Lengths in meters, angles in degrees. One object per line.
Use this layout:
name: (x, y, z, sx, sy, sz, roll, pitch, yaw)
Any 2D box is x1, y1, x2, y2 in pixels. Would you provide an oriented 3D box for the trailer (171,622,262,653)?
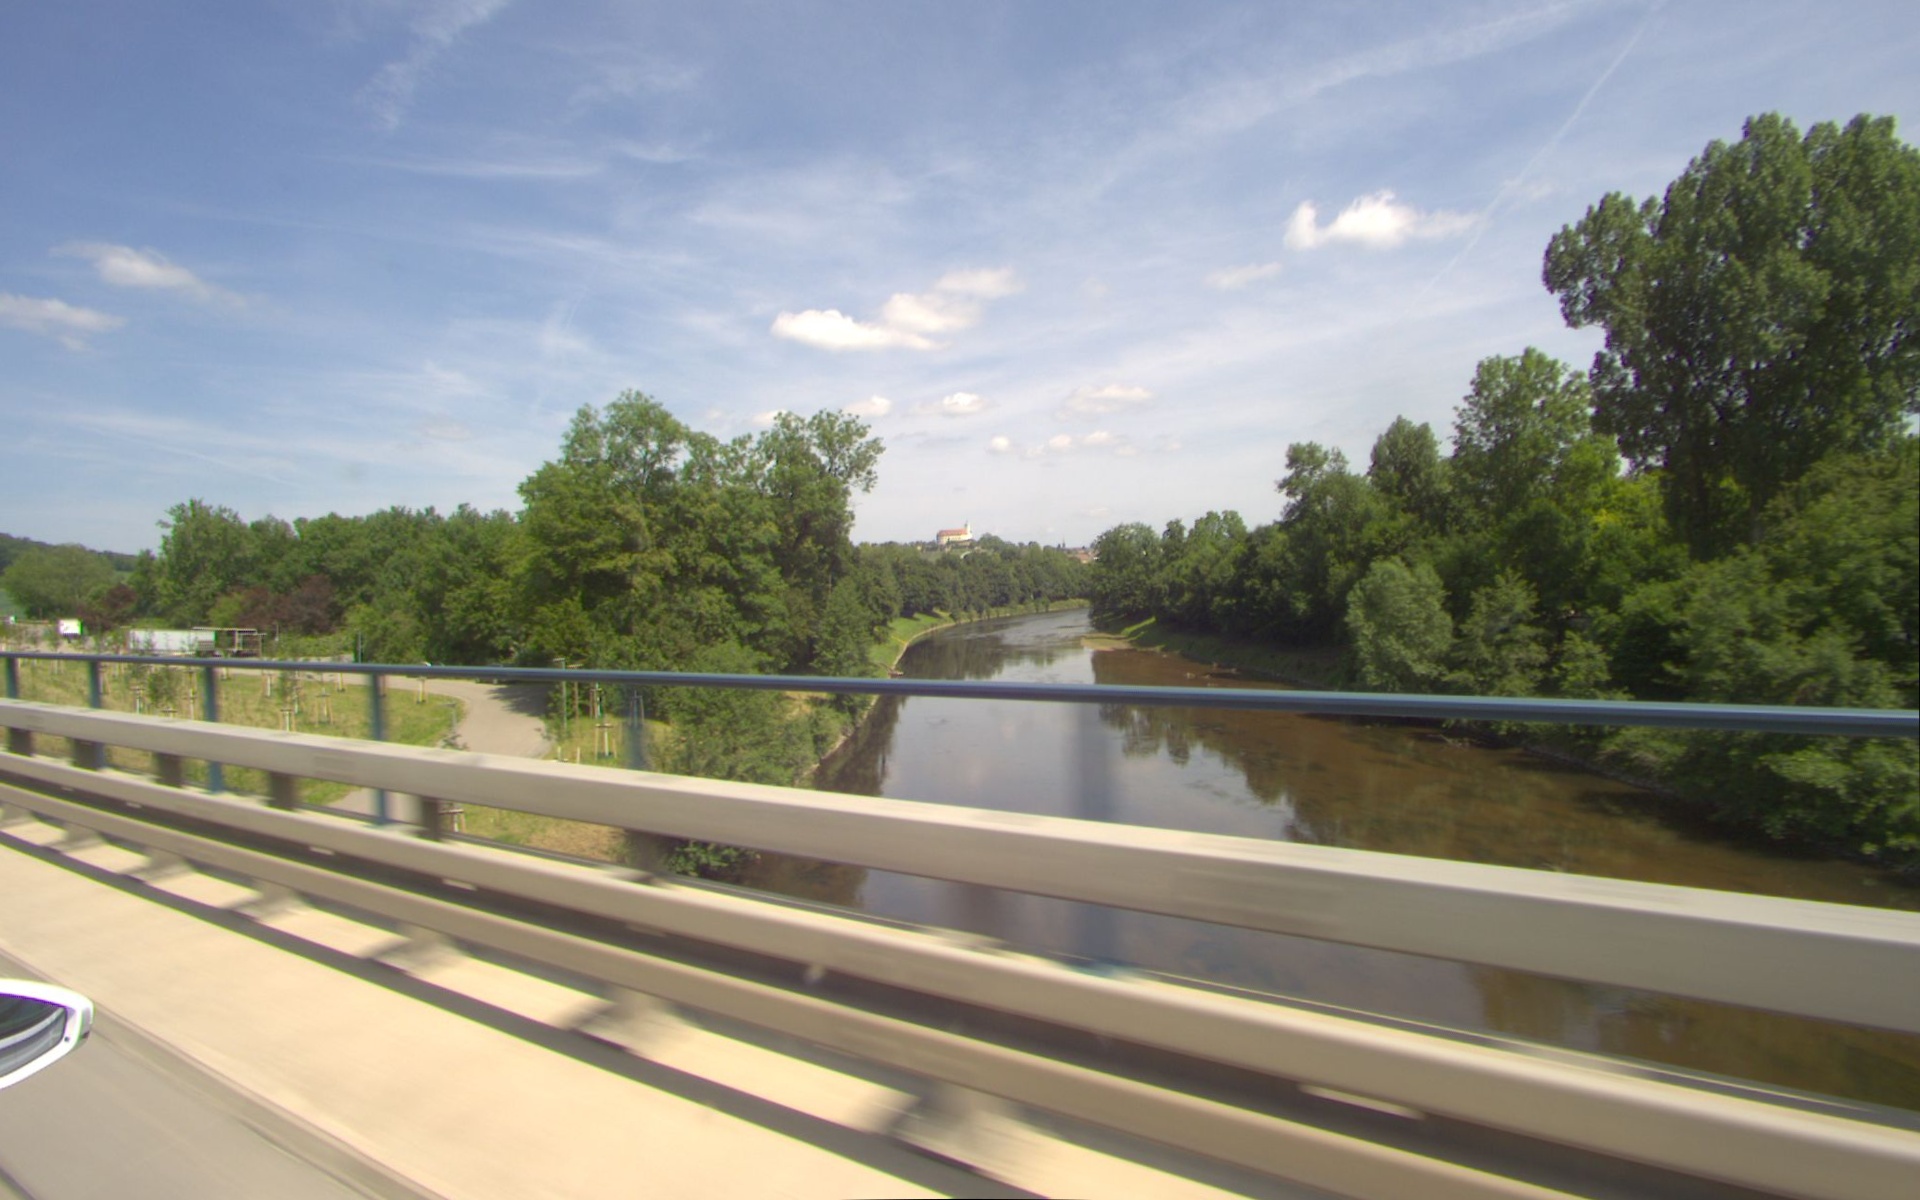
trailer: (-93.160, 4.701, 125.499, 11.679, 3.653, 2.724, 0, -1, 17)

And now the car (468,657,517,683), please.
car: (-38.514, 5.726, 82.514, 4.145, 1.706, 1.850, 1, 4, 37)

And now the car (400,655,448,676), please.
car: (-47.602, 5.809, 88.965, 4.544, 1.503, 1.851, 0, 3, 35)

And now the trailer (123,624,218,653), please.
trailer: (-97.472, 4.730, 123.576, 11.675, 3.371, 2.725, 0, 0, 15)
